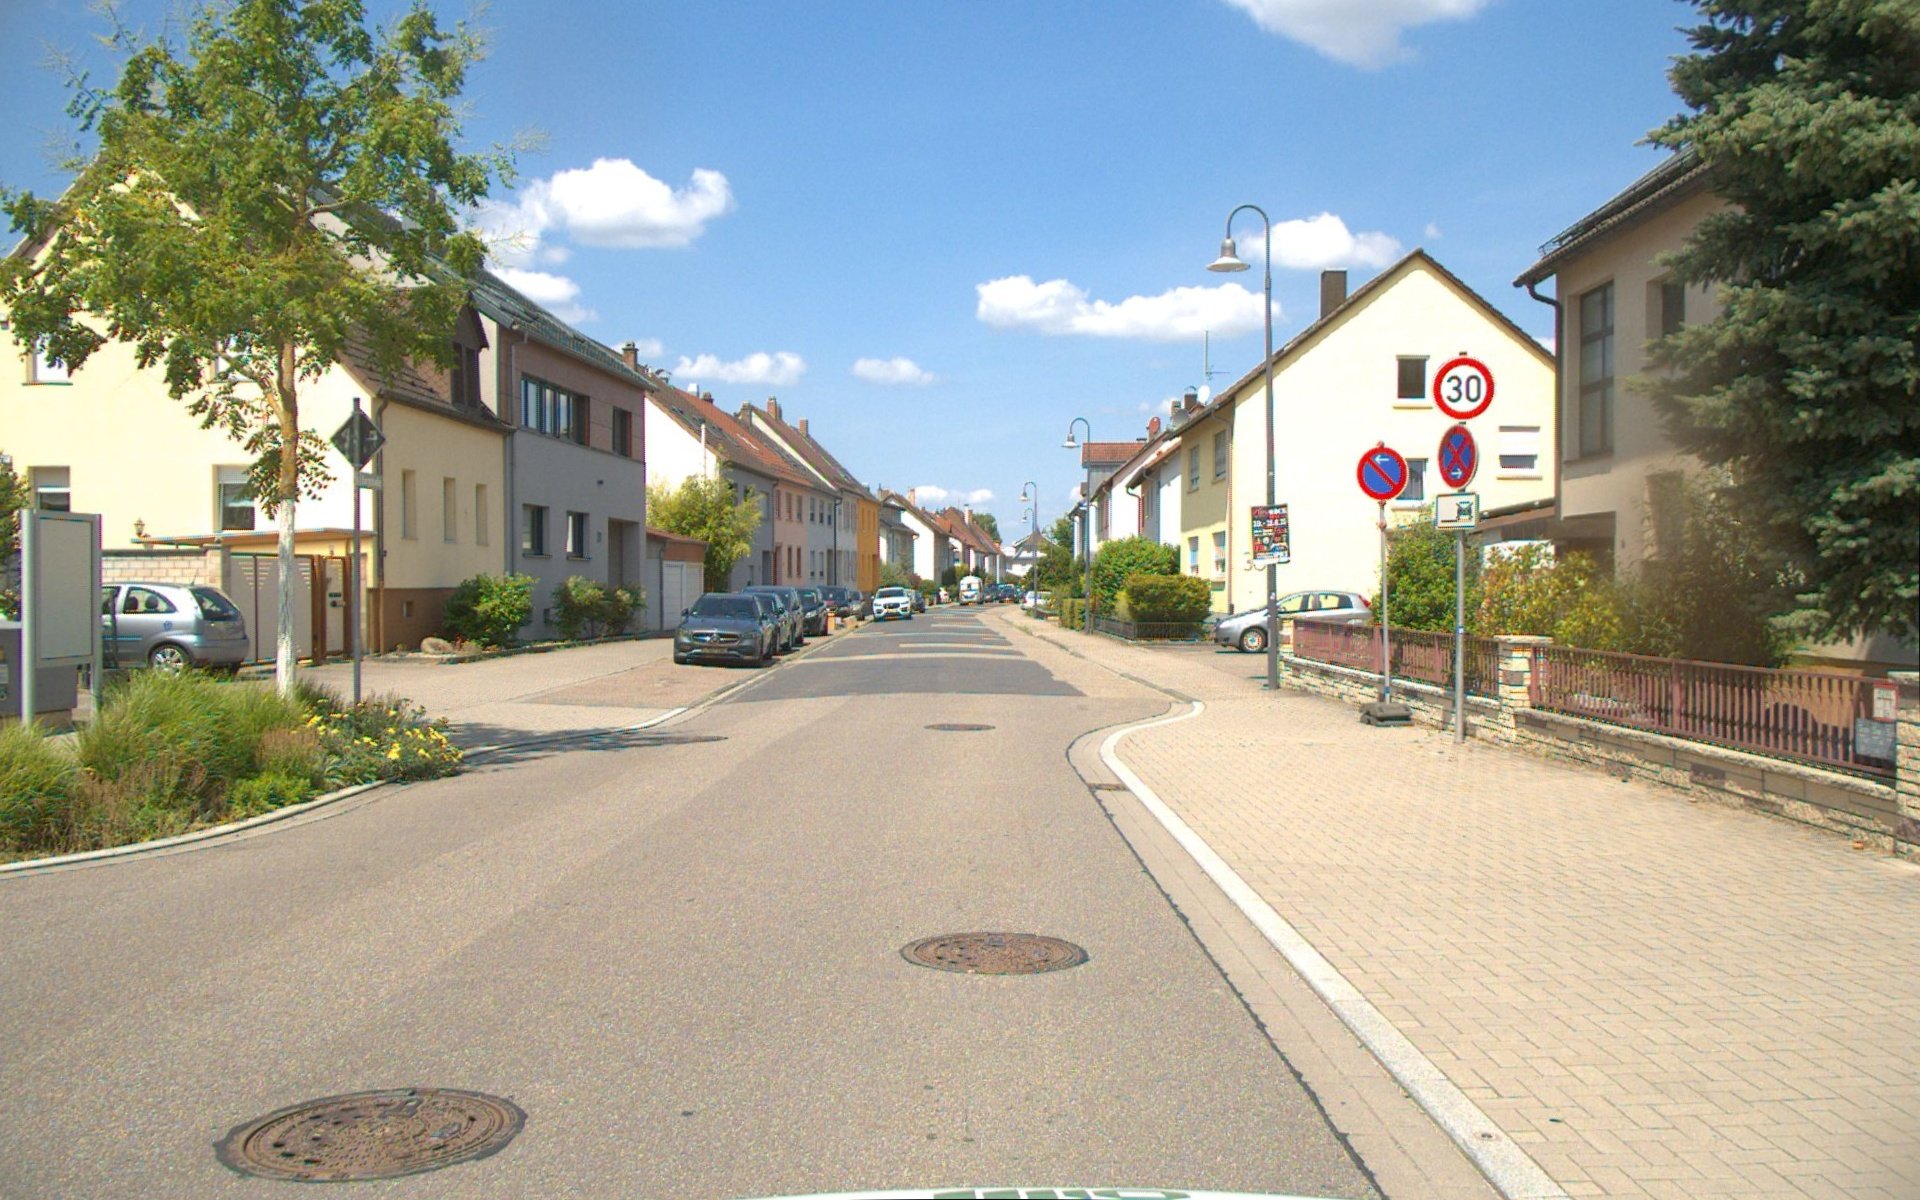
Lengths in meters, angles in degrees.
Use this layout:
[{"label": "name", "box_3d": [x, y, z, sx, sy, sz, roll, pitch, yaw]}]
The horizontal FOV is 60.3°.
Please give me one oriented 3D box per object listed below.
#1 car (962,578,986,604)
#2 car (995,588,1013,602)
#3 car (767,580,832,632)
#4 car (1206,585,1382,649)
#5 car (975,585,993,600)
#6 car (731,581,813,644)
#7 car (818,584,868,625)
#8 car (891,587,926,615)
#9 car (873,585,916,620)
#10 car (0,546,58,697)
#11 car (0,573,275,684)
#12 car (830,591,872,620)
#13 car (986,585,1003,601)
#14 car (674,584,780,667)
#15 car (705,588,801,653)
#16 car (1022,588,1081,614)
[{"label": "car", "box_3d": [1.295, -0.802, 154.160, 2.002, 2.352, 3.773, 1, 0, 4]}, {"label": "car", "box_3d": [4.406, -0.467, 165.189, 1.656, 1.365, 3.773, 1, 0, 4]}, {"label": "car", "box_3d": [-5.424, 0.193, 56.358, 1.743, 1.637, 4.000, 2, 0, 0]}, {"label": "car", "box_3d": [8.037, 0.397, 39.980, 3.905, 1.498, 1.746, 0, 0, 0]}, {"label": "car", "box_3d": [2.551, -0.811, 176.213, 1.656, 1.530, 3.773, 1, 0, 4]}, {"label": "car", "box_3d": [-5.256, 0.335, 46.675, 1.743, 1.637, 4.000, 2, 0, 0]}, {"label": "car", "box_3d": [-5.011, 0.165, 71.141, 1.773, 1.637, 4.000, 2, 0, 0]}, {"label": "car", "box_3d": [-3.258, 0.076, 105.313, 1.811, 1.688, 4.001, 2, 0, 3]}, {"label": "car", "box_3d": [-3.320, 0.126, 84.296, 1.811, 1.688, 4.001, 2, 0, 3]}, {"label": "car", "box_3d": [-13.554, 0.211, 20.231, 3.904, 1.831, 2.000, 1, 1, 1]}, {"label": "car", "box_3d": [-12.266, 0.394, 24.498, 3.450, 1.496, 1.793, 1, 1, 4]}, {"label": "car", "box_3d": [-5.483, 0.260, 83.314, 1.637, 1.359, 3.723, 2, 0, 3]}, {"label": "car", "box_3d": [3.858, -0.754, 183.688, 1.656, 1.689, 3.773, 1, 0, 4]}, {"label": "car", "box_3d": [-4.915, 0.495, 35.376, 1.780, 1.458, 4.138, 4, 2, -3]}, {"label": "car", "box_3d": [-5.081, 0.476, 41.003, 1.779, 1.458, 4.139, 2, 0, 0]}, {"label": "car", "box_3d": [5.516, 0.077, 100.148, 3.451, 1.489, 1.628, 1, 0, 0]}]
